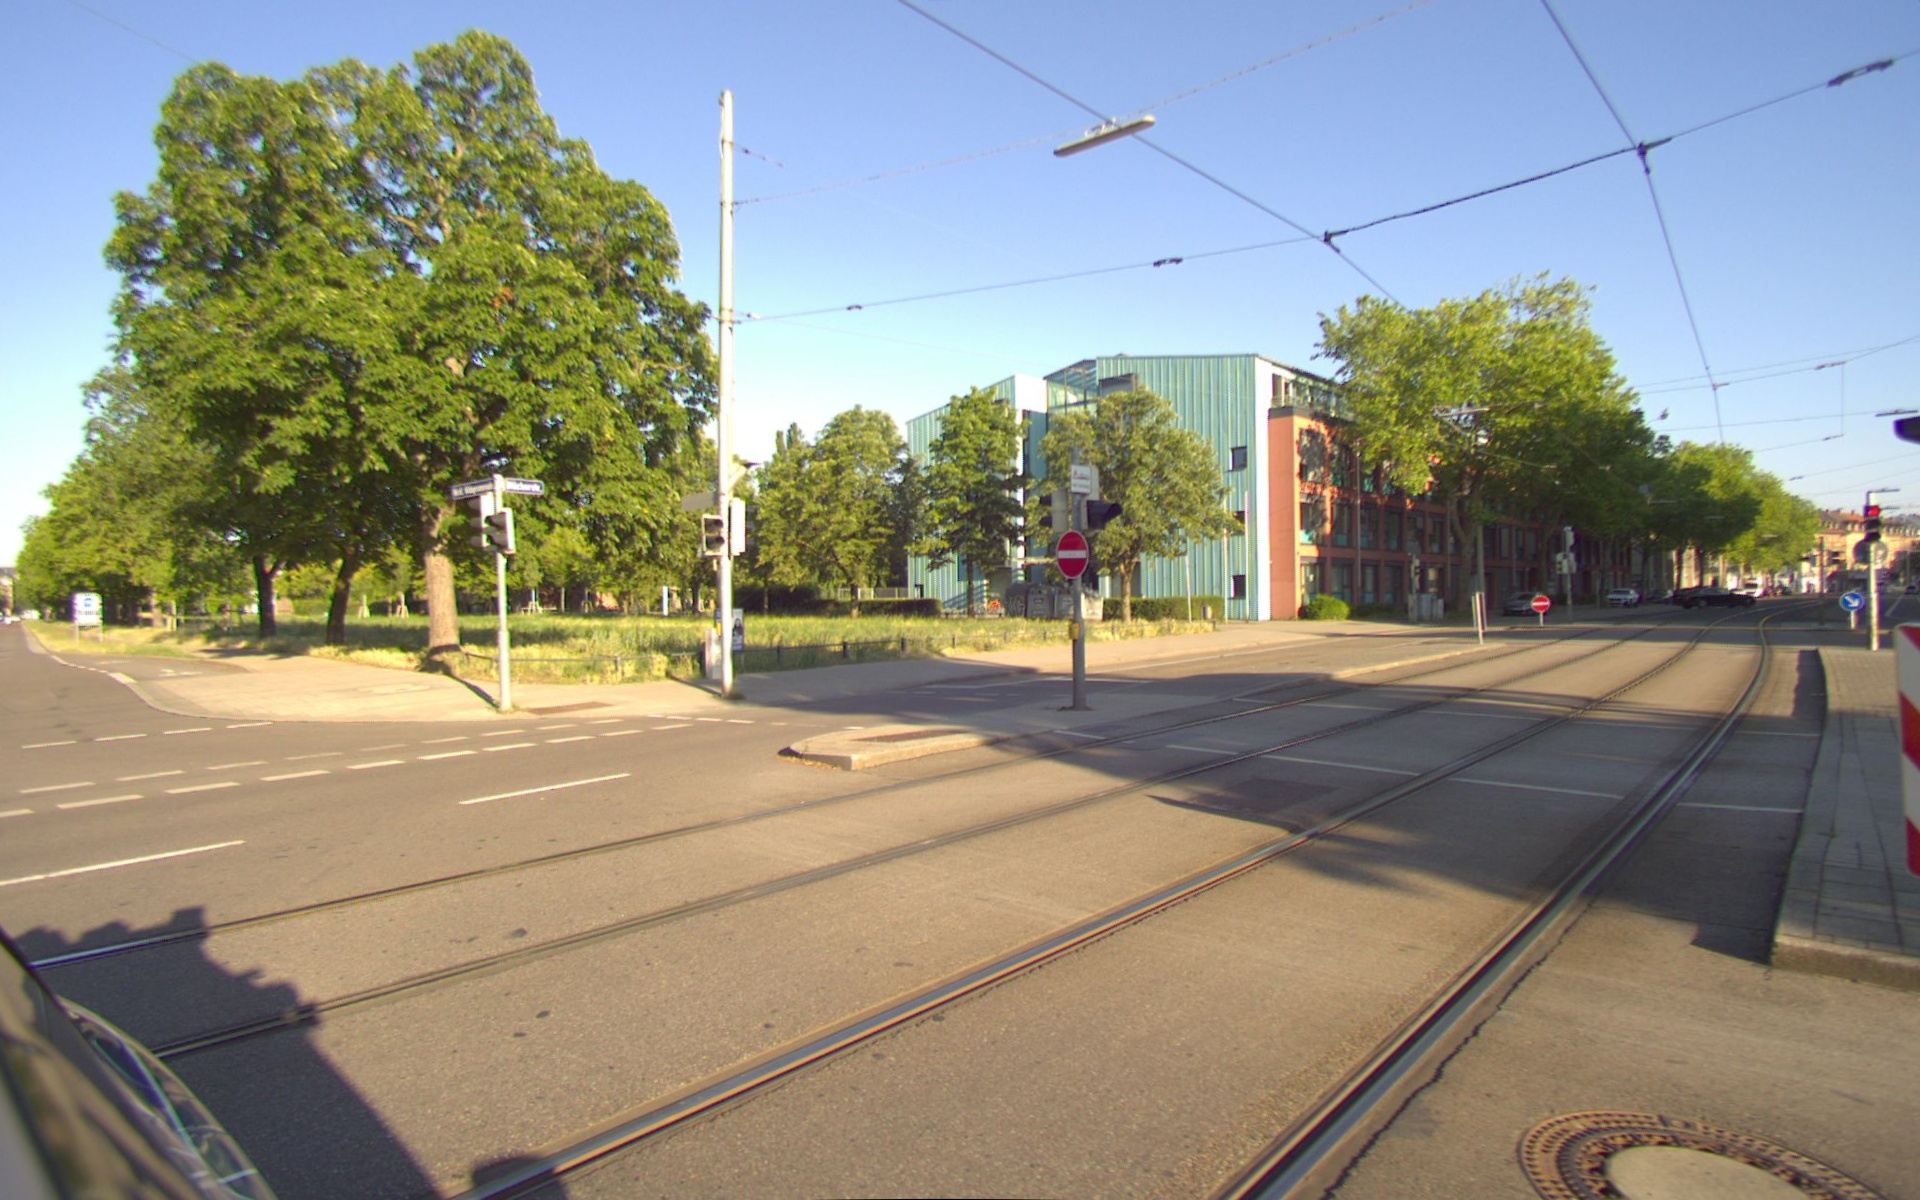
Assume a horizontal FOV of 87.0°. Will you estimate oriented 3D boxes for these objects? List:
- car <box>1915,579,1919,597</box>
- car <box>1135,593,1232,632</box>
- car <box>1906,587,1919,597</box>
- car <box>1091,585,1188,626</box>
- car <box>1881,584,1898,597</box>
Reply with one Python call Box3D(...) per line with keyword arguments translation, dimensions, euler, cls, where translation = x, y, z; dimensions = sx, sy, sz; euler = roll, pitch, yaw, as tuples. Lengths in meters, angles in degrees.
Box3D(translation=(98.320, -1.263, 102.883), dimensions=(1.778, 1.684, 3.726), euler=(0, 2, 43), cls="car")
Box3D(translation=(10.366, 0.568, 46.699), dimensions=(2.001, 1.684, 5.148), euler=(0, -1, 44), cls="car")
Box3D(translation=(158.468, -1.343, 168.369), dimensions=(1.550, 1.475, 3.256), euler=(0, 2, 43), cls="car")
Box3D(translation=(8.610, 0.236, 48.283), dimensions=(1.969, 1.684, 5.148), euler=(0, 2, 45), cls="car")
Box3D(translation=(114.102, -1.154, 124.239), dimensions=(1.550, 1.379, 3.413), euler=(0, 2, 43), cls="car")
